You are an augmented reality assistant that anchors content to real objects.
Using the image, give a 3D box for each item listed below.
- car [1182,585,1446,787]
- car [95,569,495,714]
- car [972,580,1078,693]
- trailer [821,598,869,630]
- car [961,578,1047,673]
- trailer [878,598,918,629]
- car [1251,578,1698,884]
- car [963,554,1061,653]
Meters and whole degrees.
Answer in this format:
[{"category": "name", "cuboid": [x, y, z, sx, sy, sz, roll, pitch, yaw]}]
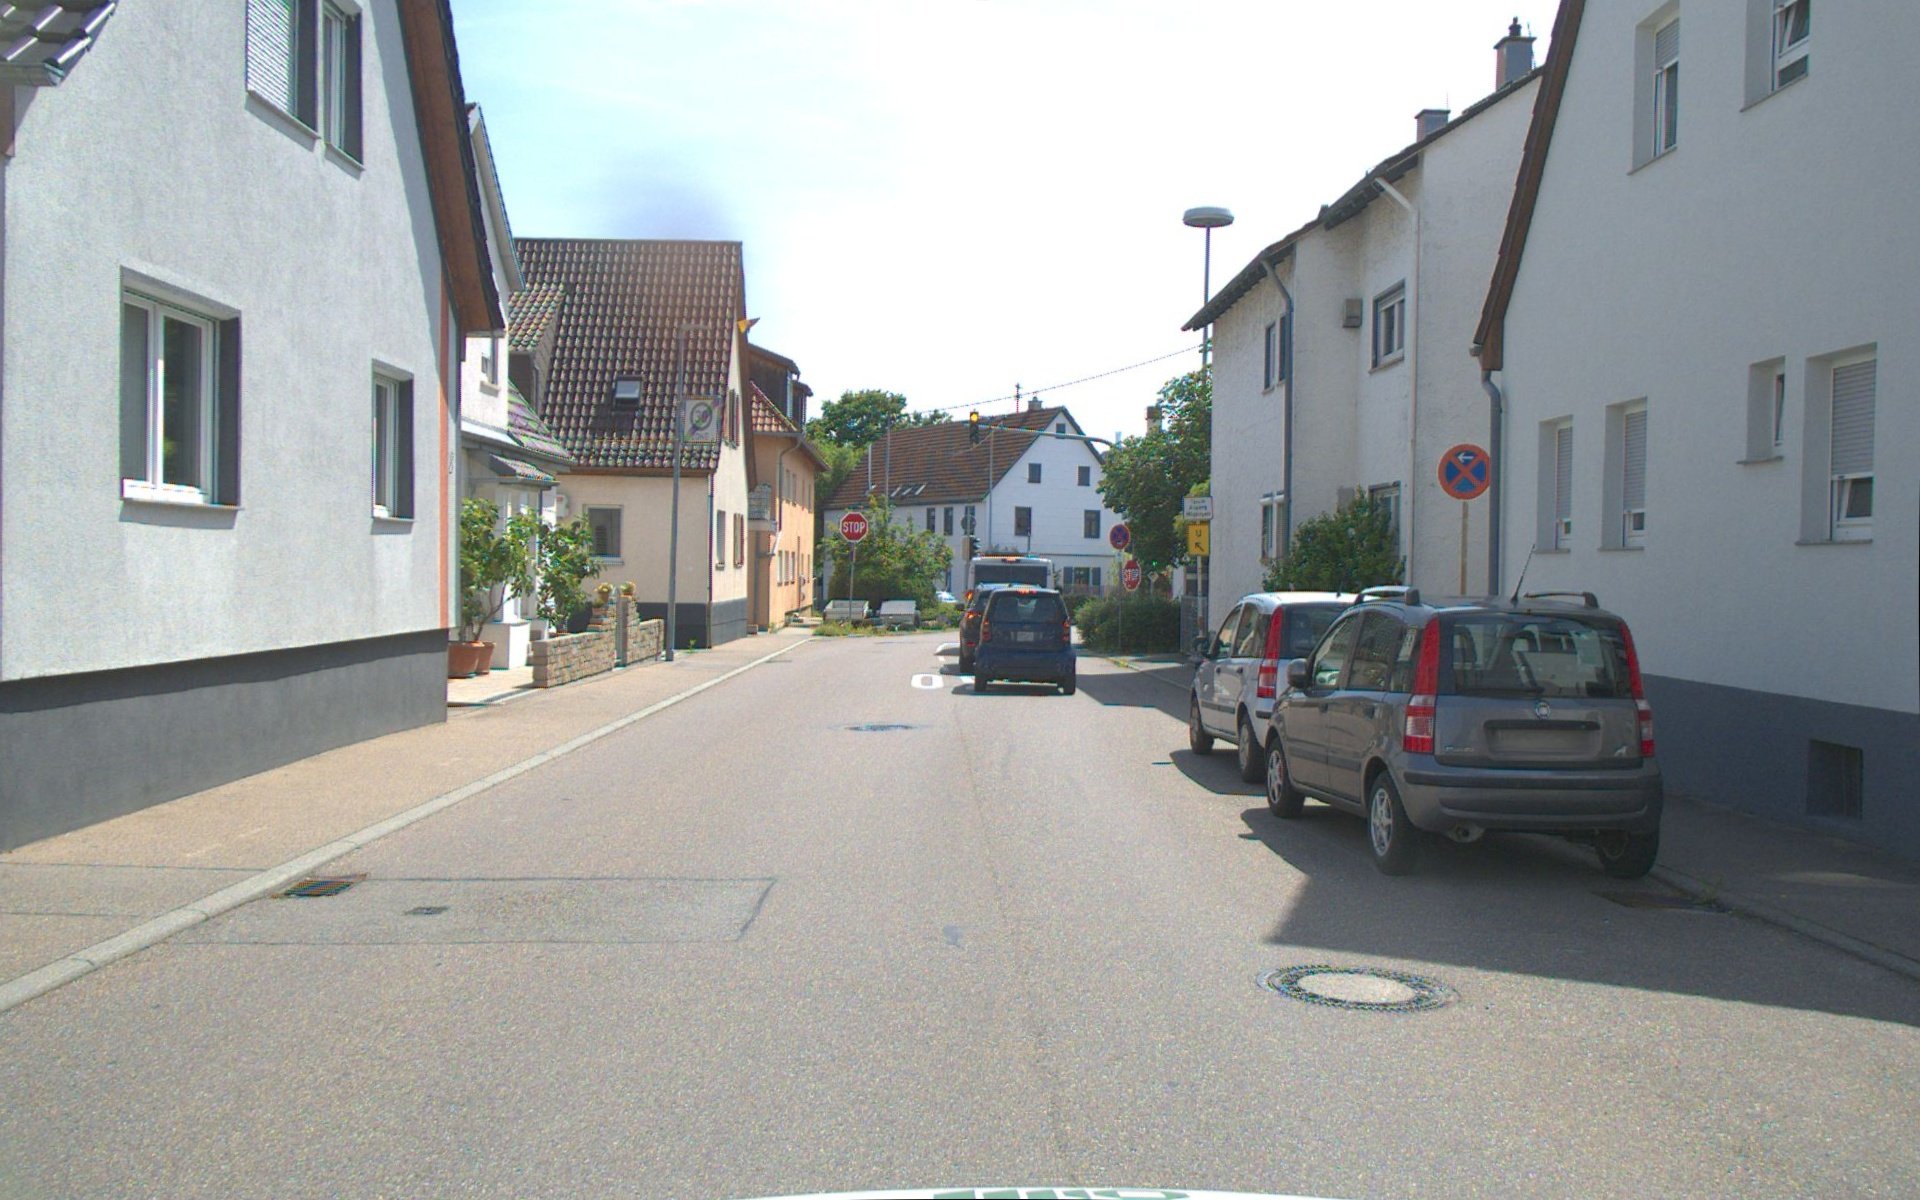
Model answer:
[{"category": "car", "cuboid": [2.997, 0.664, 14.609, 1.468, 1.539, 3.360, 2, 0, -2]}, {"category": "car", "cuboid": [-7.352, 0.436, 18.522, 3.758, 1.507, 1.702, 1, 0, 2]}, {"category": "car", "cuboid": [1.003, 0.520, 25.639, 1.484, 1.594, 3.185, 2, 0, 2]}, {"category": "trailer", "cuboid": [-3.837, 0.462, 55.177, 1.471, 0.943, 1.012, 3, 0, 0]}, {"category": "car", "cuboid": [0.834, 0.436, 30.510, 1.484, 1.653, 3.185, 1, 0, 2]}, {"category": "trailer", "cuboid": [-2.046, 0.442, 55.059, 1.284, 0.987, 0.933, 1, 0, 0]}, {"category": "car", "cuboid": [3.012, 0.678, 10.399, 1.536, 1.572, 3.447, 2, 0, -4]}, {"category": "car", "cuboid": [1.315, 0.070, 39.576, 2.084, 2.196, 4.739, 1, 0, 5]}]
